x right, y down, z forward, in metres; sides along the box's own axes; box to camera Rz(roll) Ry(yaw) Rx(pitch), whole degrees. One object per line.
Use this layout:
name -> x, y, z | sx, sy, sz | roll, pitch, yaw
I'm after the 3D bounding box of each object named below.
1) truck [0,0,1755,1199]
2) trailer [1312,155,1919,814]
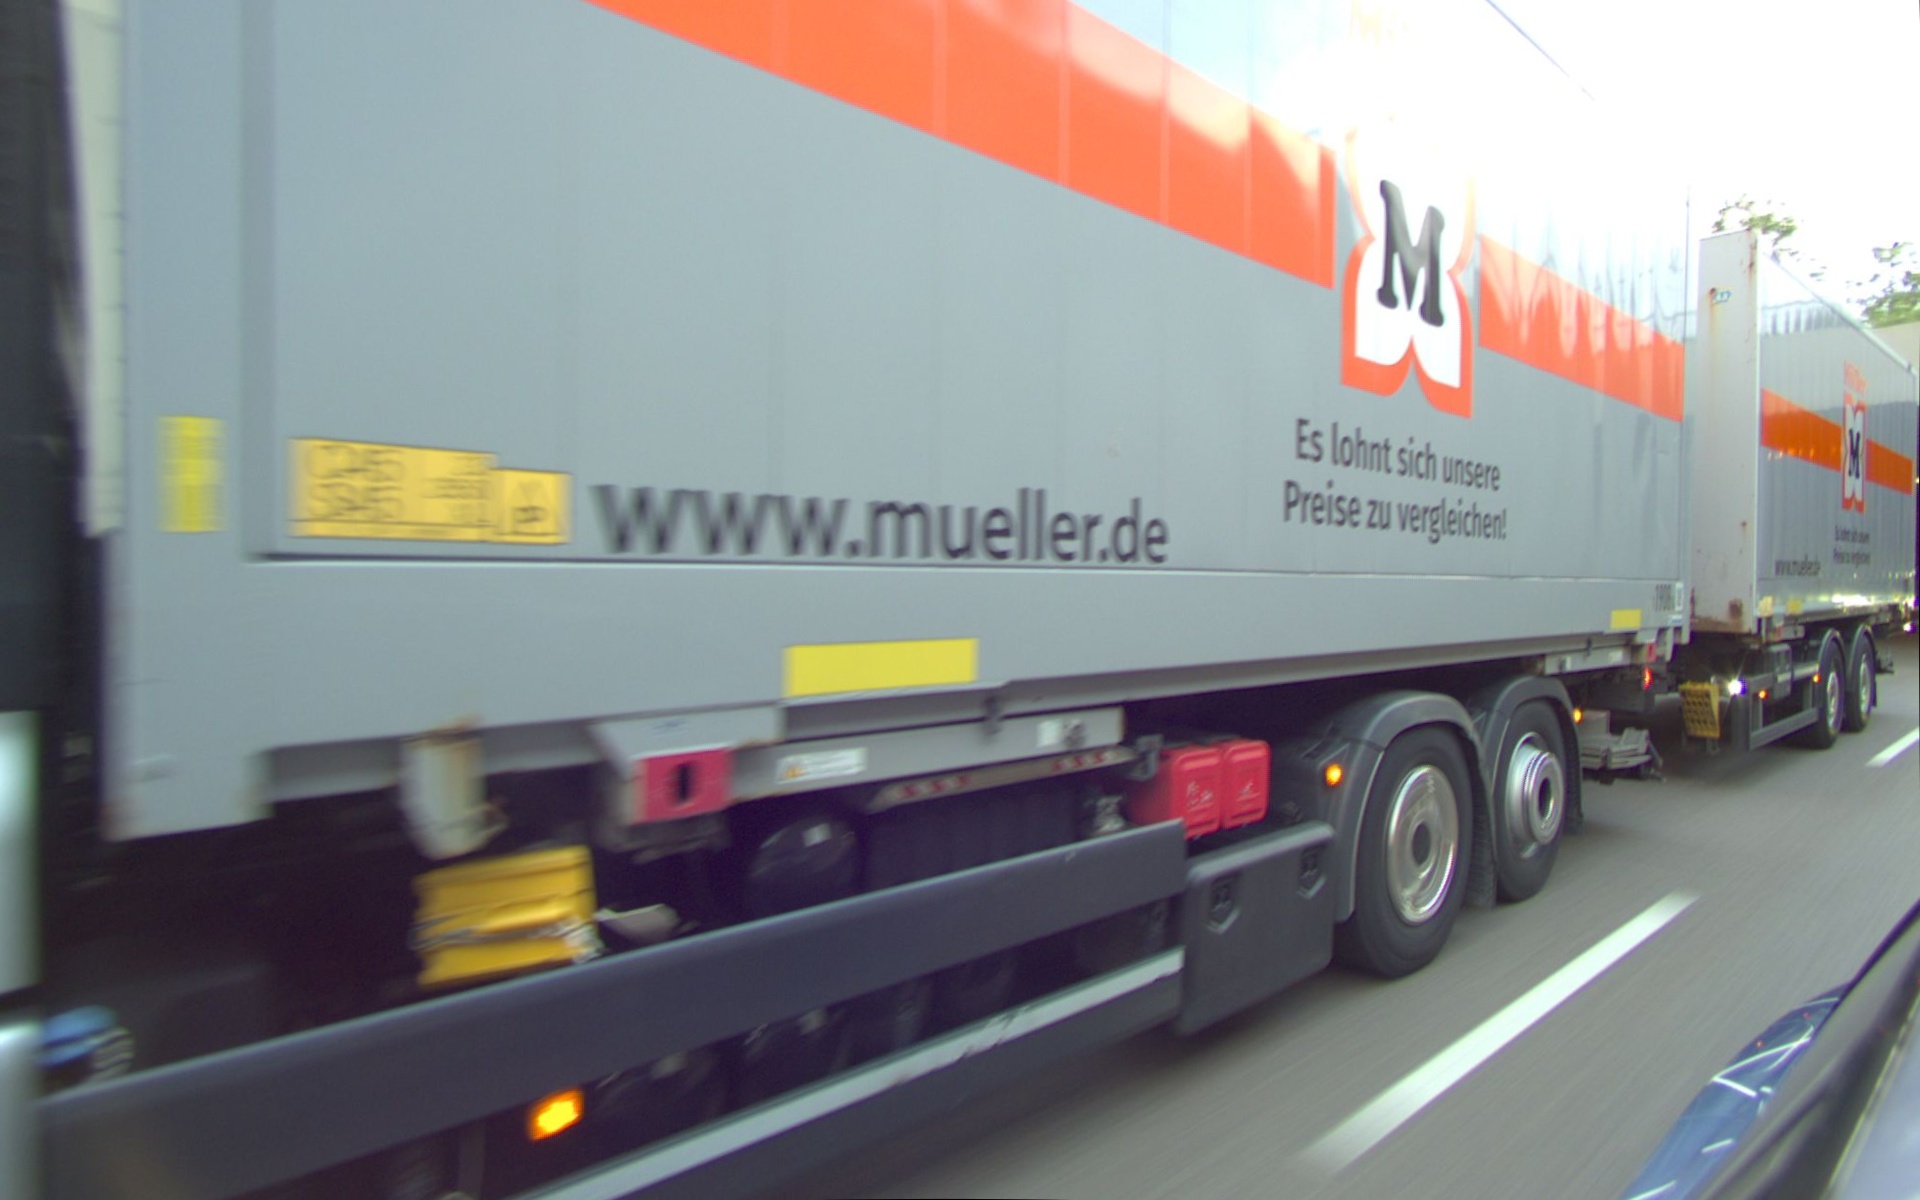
truck -> 0.060, -0.693, 3.955 | 9.734, 3.963, 2.894 | -1, 0, -40
trailer -> 7.145, -0.736, 9.944 | 8.789, 3.907, 2.881 | -1, 0, -40
